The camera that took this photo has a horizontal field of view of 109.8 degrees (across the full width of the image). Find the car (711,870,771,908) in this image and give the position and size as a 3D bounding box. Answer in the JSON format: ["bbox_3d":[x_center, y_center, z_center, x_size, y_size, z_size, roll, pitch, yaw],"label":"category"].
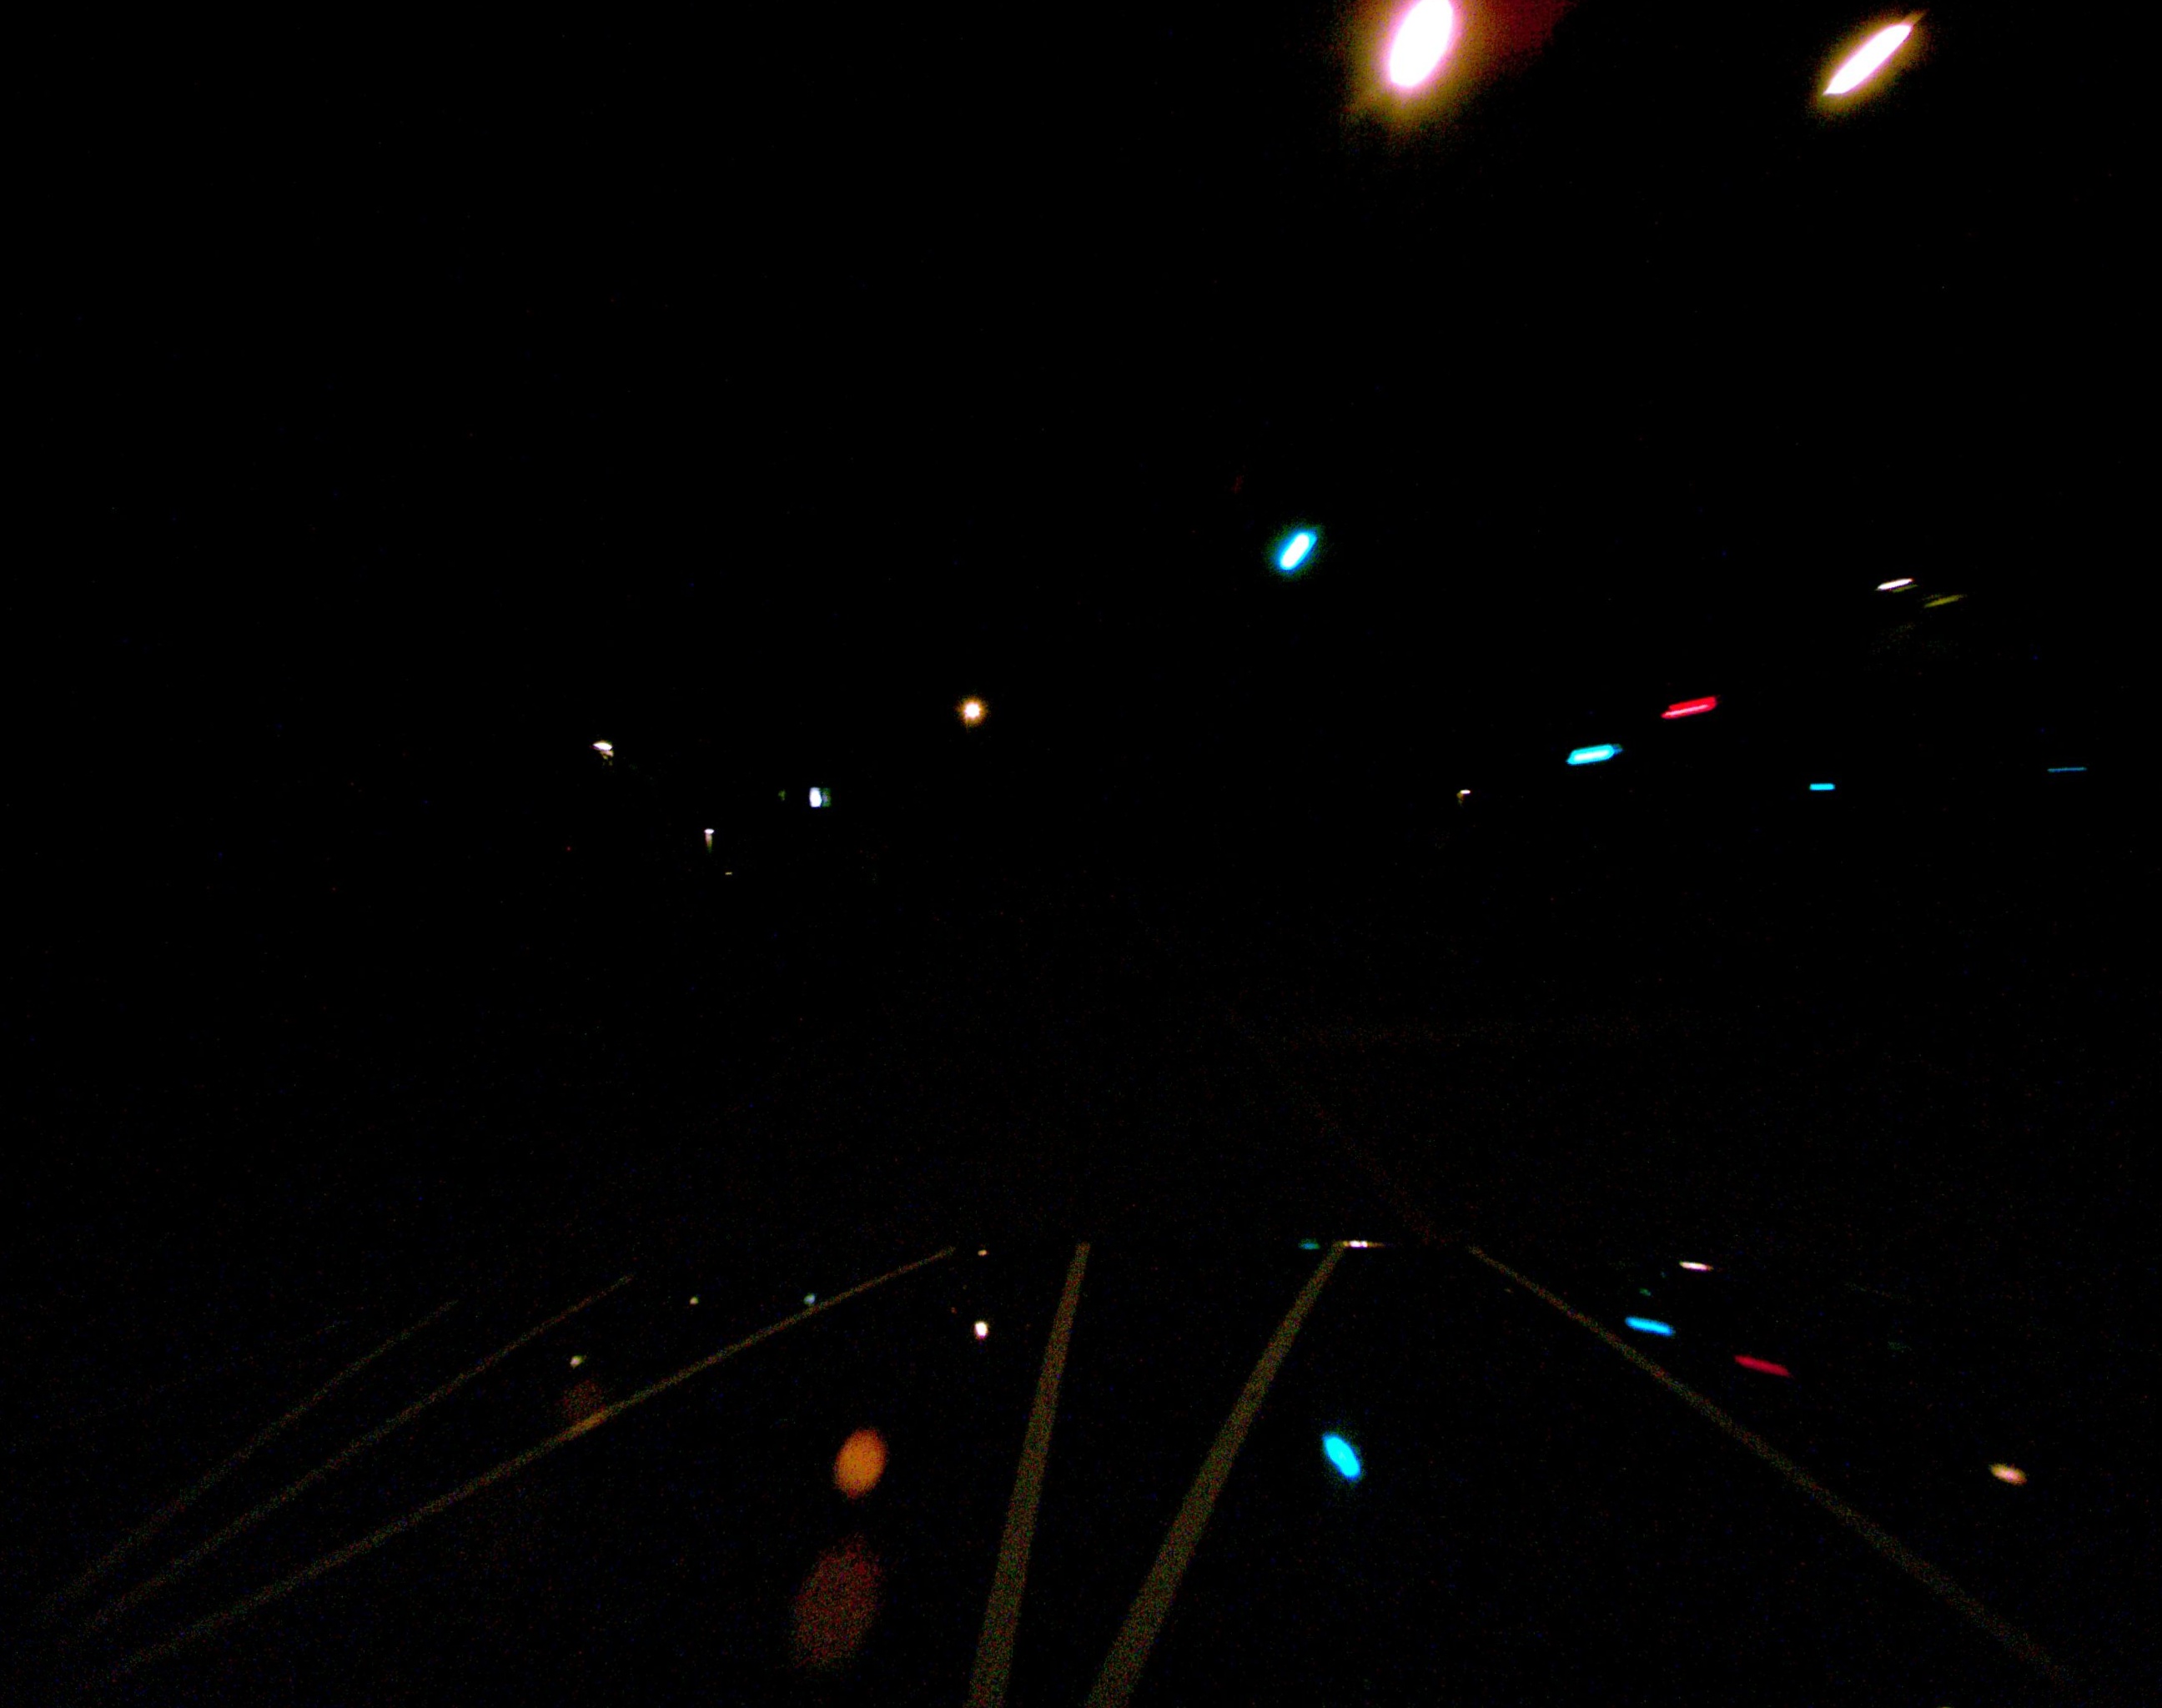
[{"bbox_3d":[-16.609,1.669,36.993,1.926,1.556,4.402,-4,1,-33],"label":"car"}]

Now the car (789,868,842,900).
[{"bbox_3d":[-13.867,1.550,39.609,1.710,1.496,3.584,-4,1,-33],"label":"car"}]

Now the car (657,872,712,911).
[{"bbox_3d":[-18.815,1.750,36.004,1.816,1.606,4.089,-4,1,-33],"label":"car"}]

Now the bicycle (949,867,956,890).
[{"bbox_3d":[-6.333,1.193,37.536,0.296,0.977,1.942,-3,3,-9],"label":"bicycle"}]

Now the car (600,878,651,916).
[{"bbox_3d":[-20.822,1.932,34.695,1.765,1.506,3.861,-4,1,-33],"label":"car"}]

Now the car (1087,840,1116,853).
[{"bbox_3d":[3.108,-1.180,116.668,4.005,1.600,1.753,-6,4,-30],"label":"car"}]
